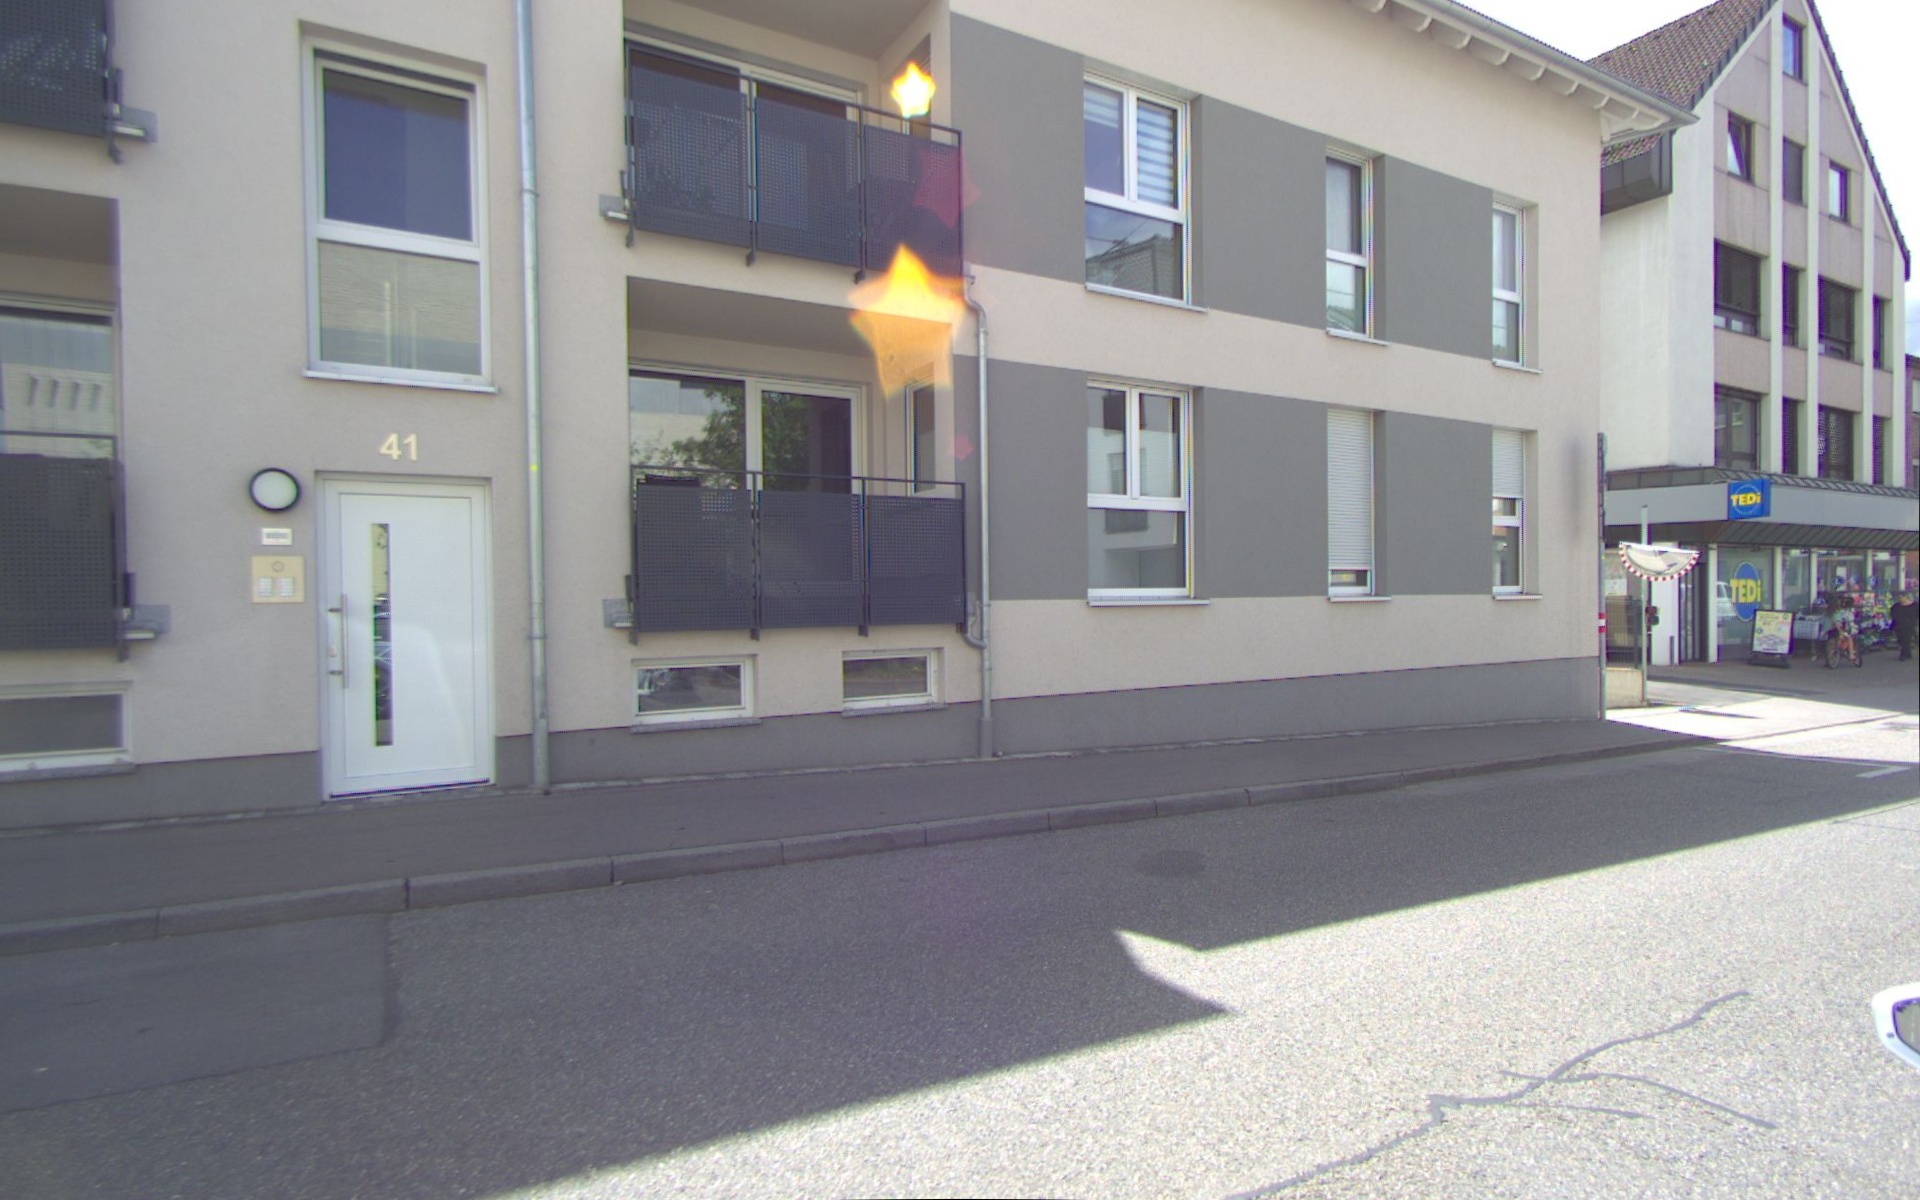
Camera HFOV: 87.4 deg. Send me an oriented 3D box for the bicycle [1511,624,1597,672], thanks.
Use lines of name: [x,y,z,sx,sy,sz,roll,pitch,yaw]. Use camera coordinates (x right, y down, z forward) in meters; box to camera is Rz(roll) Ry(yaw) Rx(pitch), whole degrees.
bicycle: [11.950,0.949,20.256,0.299,0.908,1.543,0,0,-31]

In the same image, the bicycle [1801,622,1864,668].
bicycle: [18.369,0.937,21.138,1.756,0.873,0.464,-1,2,-31]

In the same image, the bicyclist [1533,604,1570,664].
bicyclist: [11.935,0.681,20.277,0.392,1.197,0.495,0,1,-30]

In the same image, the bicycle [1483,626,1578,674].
bicycle: [11.221,0.979,19.777,1.619,0.908,0.303,0,0,10]

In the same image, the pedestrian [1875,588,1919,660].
pedestrian: [21.619,0.544,23.135,0.555,1.624,0.626,1,0,-26]

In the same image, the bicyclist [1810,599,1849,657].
bicyclist: [18.264,0.588,21.097,0.617,1.194,0.455,1,0,-30]
